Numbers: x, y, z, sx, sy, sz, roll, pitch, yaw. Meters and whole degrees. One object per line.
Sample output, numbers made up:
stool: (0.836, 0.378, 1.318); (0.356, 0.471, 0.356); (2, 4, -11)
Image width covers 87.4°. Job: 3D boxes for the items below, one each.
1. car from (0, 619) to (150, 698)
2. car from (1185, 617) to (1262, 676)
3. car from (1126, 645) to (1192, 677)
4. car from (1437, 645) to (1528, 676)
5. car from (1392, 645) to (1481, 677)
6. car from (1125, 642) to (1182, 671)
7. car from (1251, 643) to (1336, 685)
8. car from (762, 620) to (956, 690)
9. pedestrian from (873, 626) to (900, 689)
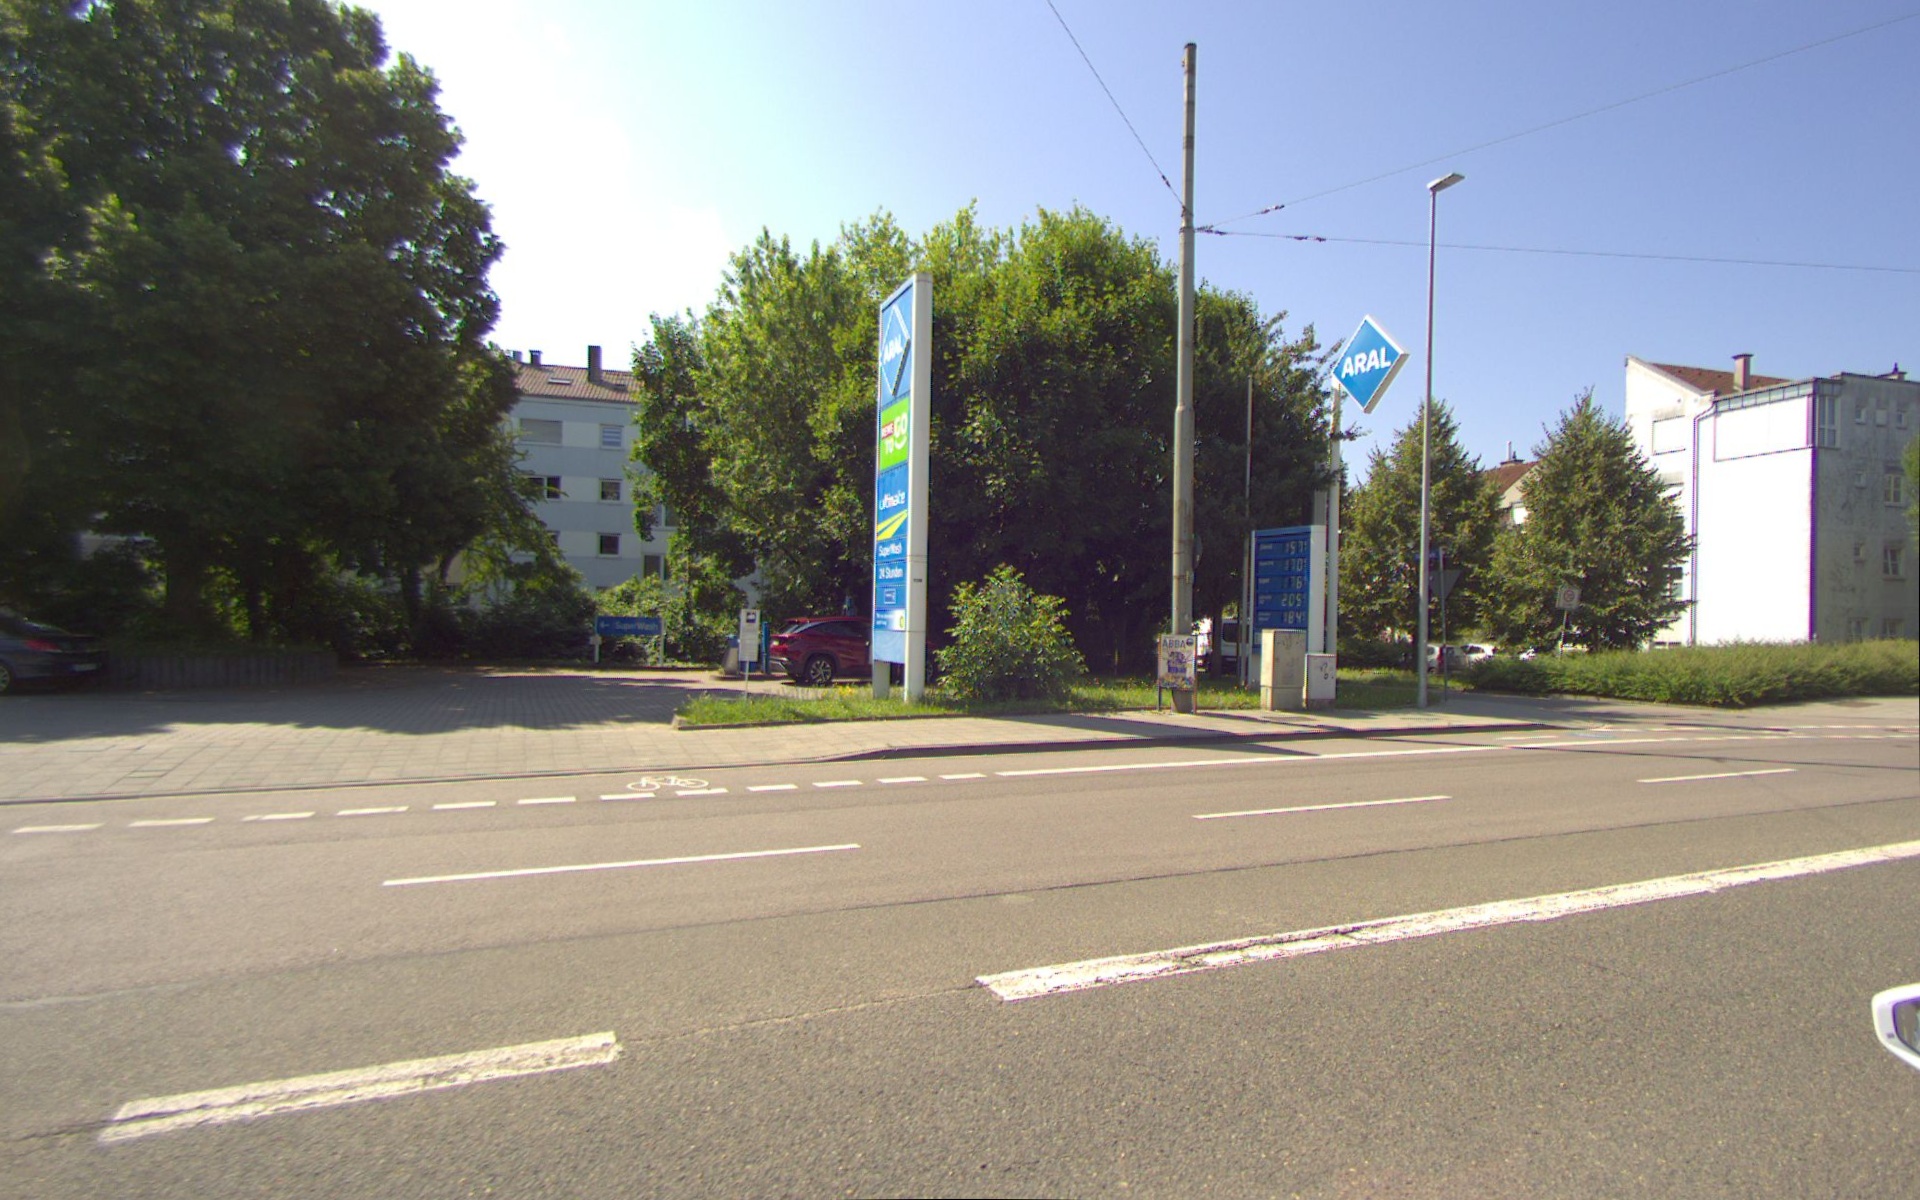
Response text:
car: (-18.045, 1.054, 18.818); (4.160, 1.363, 1.805); (1, -1, -2)
car: (12.008, 2.099, 46.091); (1.757, 2.571, 4.178); (1, -2, -11)
car: (9.506, 2.911, 48.316); (1.604, 1.379, 3.990); (2, -2, -13)
car: (22.887, 2.621, 44.146); (1.548, 1.221, 3.653); (1, -2, -14)
car: (20.658, 2.623, 43.698); (1.548, 1.221, 3.653); (1, -2, -14)
car: (10.431, 3.049, 54.507); (1.786, 1.462, 3.655); (1, -2, -11)
car: (13.261, 2.528, 40.156); (1.631, 1.503, 3.603); (1, -2, -11)
car: (-2.494, 1.295, 24.900); (4.456, 1.591, 1.794); (0, -1, -26)
pedestrian: (-1.781, 1.387, 24.391); (0.493, 1.501, 0.497); (2, -1, -25)
